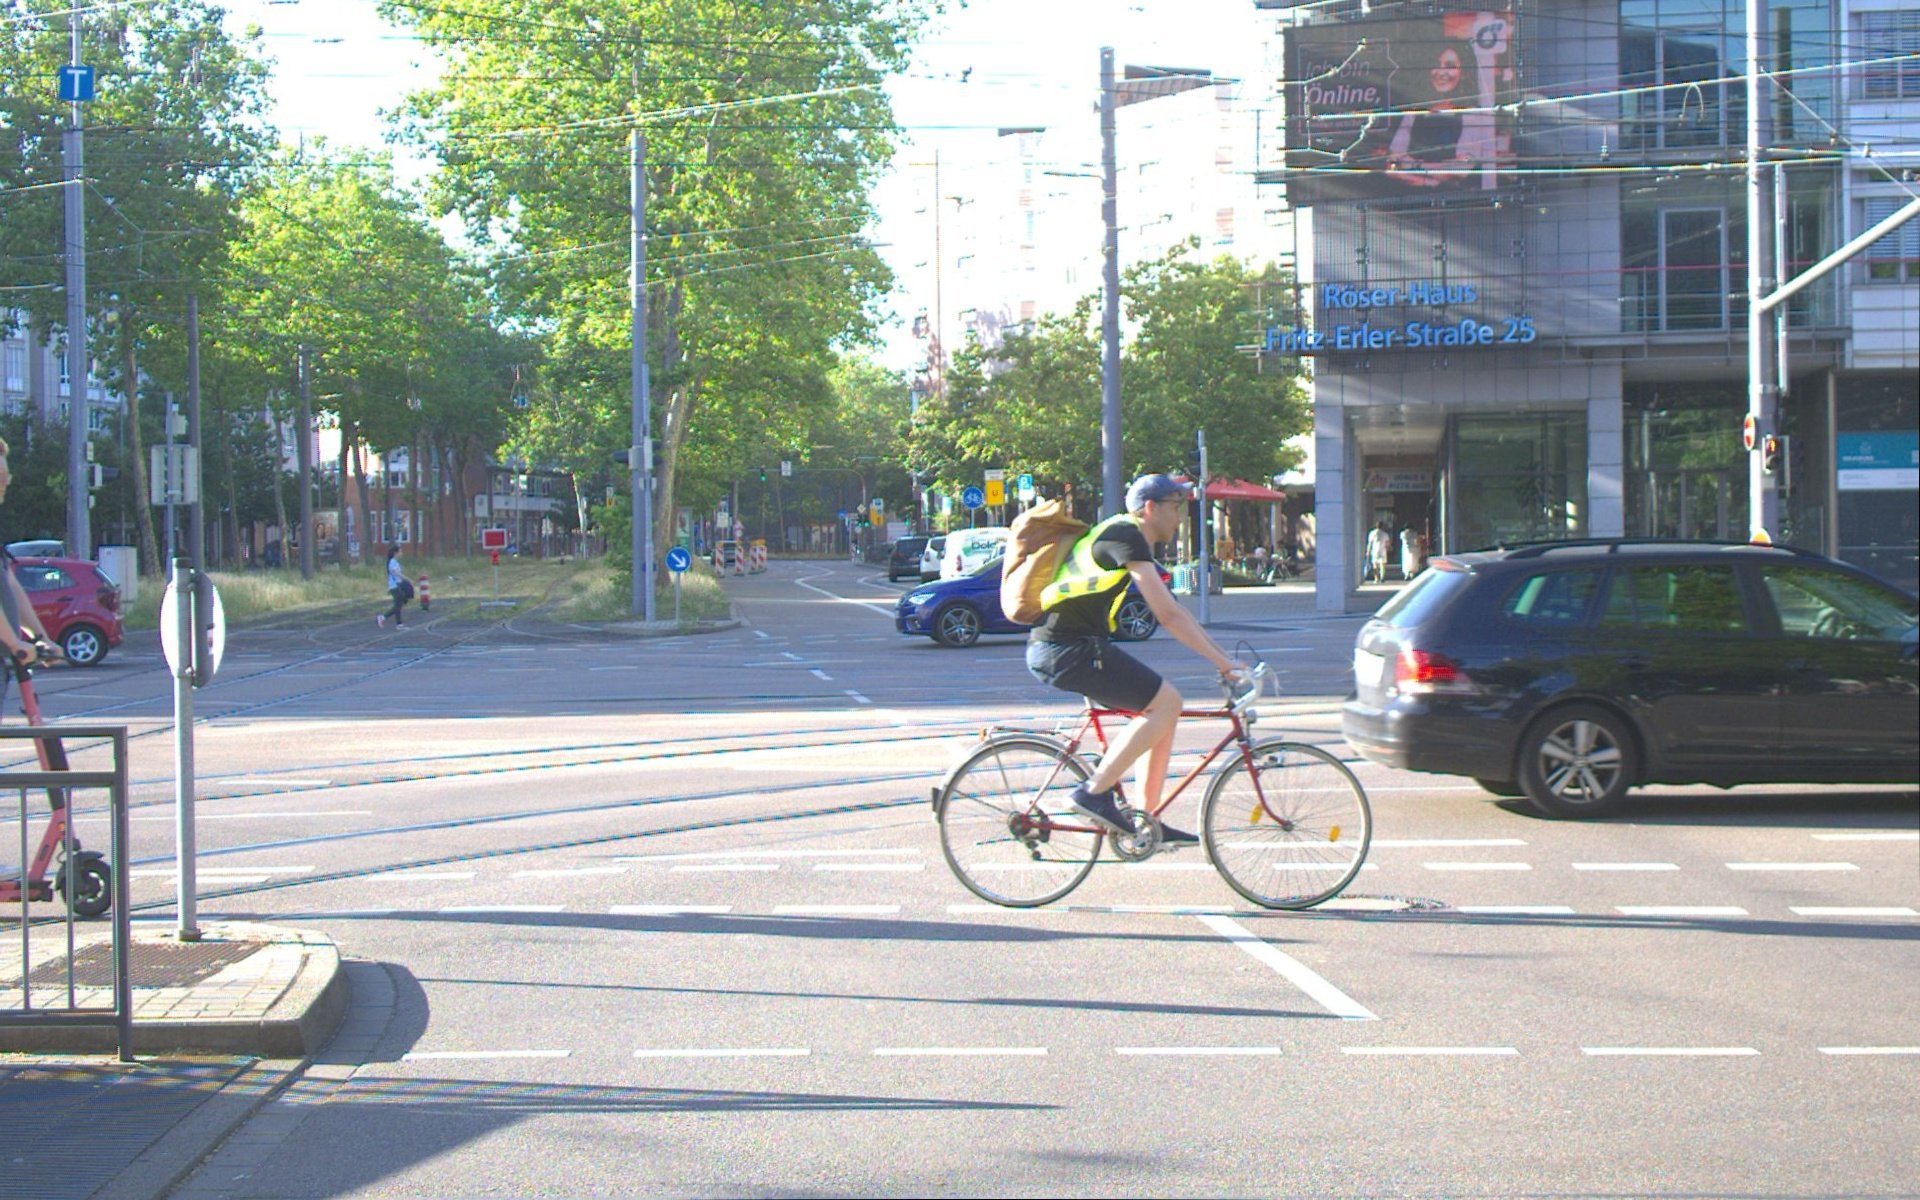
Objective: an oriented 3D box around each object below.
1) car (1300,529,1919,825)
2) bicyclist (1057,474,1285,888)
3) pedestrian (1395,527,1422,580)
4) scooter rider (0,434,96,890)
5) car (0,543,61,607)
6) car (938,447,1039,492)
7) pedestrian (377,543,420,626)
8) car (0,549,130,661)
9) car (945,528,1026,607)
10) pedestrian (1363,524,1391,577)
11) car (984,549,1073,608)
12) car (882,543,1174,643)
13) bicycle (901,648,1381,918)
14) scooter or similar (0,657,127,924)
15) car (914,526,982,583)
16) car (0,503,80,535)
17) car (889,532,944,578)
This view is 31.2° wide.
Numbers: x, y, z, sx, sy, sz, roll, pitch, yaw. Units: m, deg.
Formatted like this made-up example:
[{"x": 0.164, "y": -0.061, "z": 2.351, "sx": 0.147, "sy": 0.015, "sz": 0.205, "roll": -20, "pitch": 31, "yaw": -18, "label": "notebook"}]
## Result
[{"x": 4.240, "y": 0.383, "z": 19.260, "sx": 4.384, "sy": 1.512, "sz": 2.000, "roll": 0, "pitch": 2, "yaw": -3, "label": "car"}, {"x": 0.857, "y": 0.320, "z": 14.095, "sx": 0.904, "sy": 1.658, "sz": 0.639, "roll": 0, "pitch": 1, "yaw": 2, "label": "bicyclist"}, {"x": 12.470, "y": -1.306, "z": 95.560, "sx": 0.706, "sy": 1.460, "sz": 0.384, "roll": -1, "pitch": 1, "yaw": 9, "label": "pedestrian"}, {"x": -4.141, "y": 0.257, "z": 14.652, "sx": 0.663, "sy": 1.889, "sz": 0.736, "roll": -1, "pitch": 1, "yaw": 2, "label": "scooter rider"}, {"x": -23.198, "y": -0.620, "z": 83.557, "sx": 1.993, "sy": 1.503, "sz": 4.001, "roll": -1, "pitch": 1, "yaw": -6, "label": "car"}, {"x": 1.173, "y": -5.355, "z": 140.889, "sx": 3.764, "sy": 1.744, "sz": 1.780, "roll": 1, "pitch": 0, "yaw": 14, "label": "car"}, {"x": -10.354, "y": -0.289, "z": 63.420, "sx": 0.754, "sy": 1.525, "sz": 0.508, "roll": 0, "pitch": 1, "yaw": -7, "label": "pedestrian"}, {"x": -13.148, "y": 0.075, "z": 46.650, "sx": 3.595, "sy": 1.461, "sz": 1.796, "roll": -1, "pitch": 1, "yaw": -12, "label": "car"}, {"x": 0.637, "y": -0.876, "z": 89.699, "sx": 1.993, "sy": 1.985, "sz": 4.000, "roll": -1, "pitch": 1, "yaw": -1, "label": "car"}, {"x": 11.632, "y": -1.389, "z": 95.907, "sx": 0.739, "sy": 1.460, "sz": 0.536, "roll": -1, "pitch": 1, "yaw": 9, "label": "pedestrian"}, {"x": 1.626, "y": -0.539, "z": 82.863, "sx": 1.993, "sy": 1.327, "sz": 4.000, "roll": -1, "pitch": 1, "yaw": -1, "label": "car"}, {"x": 0.945, "y": -0.119, "z": 49.687, "sx": 3.986, "sy": 1.343, "sz": 1.977, "roll": -1, "pitch": 1, "yaw": -6, "label": "car"}, {"x": 0.737, "y": 0.740, "z": 14.107, "sx": 1.923, "sy": 1.060, "sz": 0.629, "roll": 0, "pitch": 1, "yaw": 2, "label": "bicycle"}, {"x": -4.203, "y": 0.807, "z": 14.597, "sx": 1.206, "sy": 1.100, "sz": 0.403, "roll": -1, "pitch": 1, "yaw": 3, "label": "scooter or similar"}, {"x": -0.387, "y": -1.401, "z": 105.009, "sx": 1.993, "sy": 1.656, "sz": 4.000, "roll": -1, "pitch": 1, "yaw": -1, "label": "car"}, {"x": -46.752, "y": -4.079, "z": 173.880, "sx": 3.987, "sy": 1.547, "sz": 1.607, "roll": 1, "pitch": 1, "yaw": -31, "label": "car"}, {"x": -1.596, "y": -1.667, "z": 126.726, "sx": 1.993, "sy": 1.656, "sz": 4.000, "roll": -1, "pitch": 1, "yaw": -1, "label": "car"}]
